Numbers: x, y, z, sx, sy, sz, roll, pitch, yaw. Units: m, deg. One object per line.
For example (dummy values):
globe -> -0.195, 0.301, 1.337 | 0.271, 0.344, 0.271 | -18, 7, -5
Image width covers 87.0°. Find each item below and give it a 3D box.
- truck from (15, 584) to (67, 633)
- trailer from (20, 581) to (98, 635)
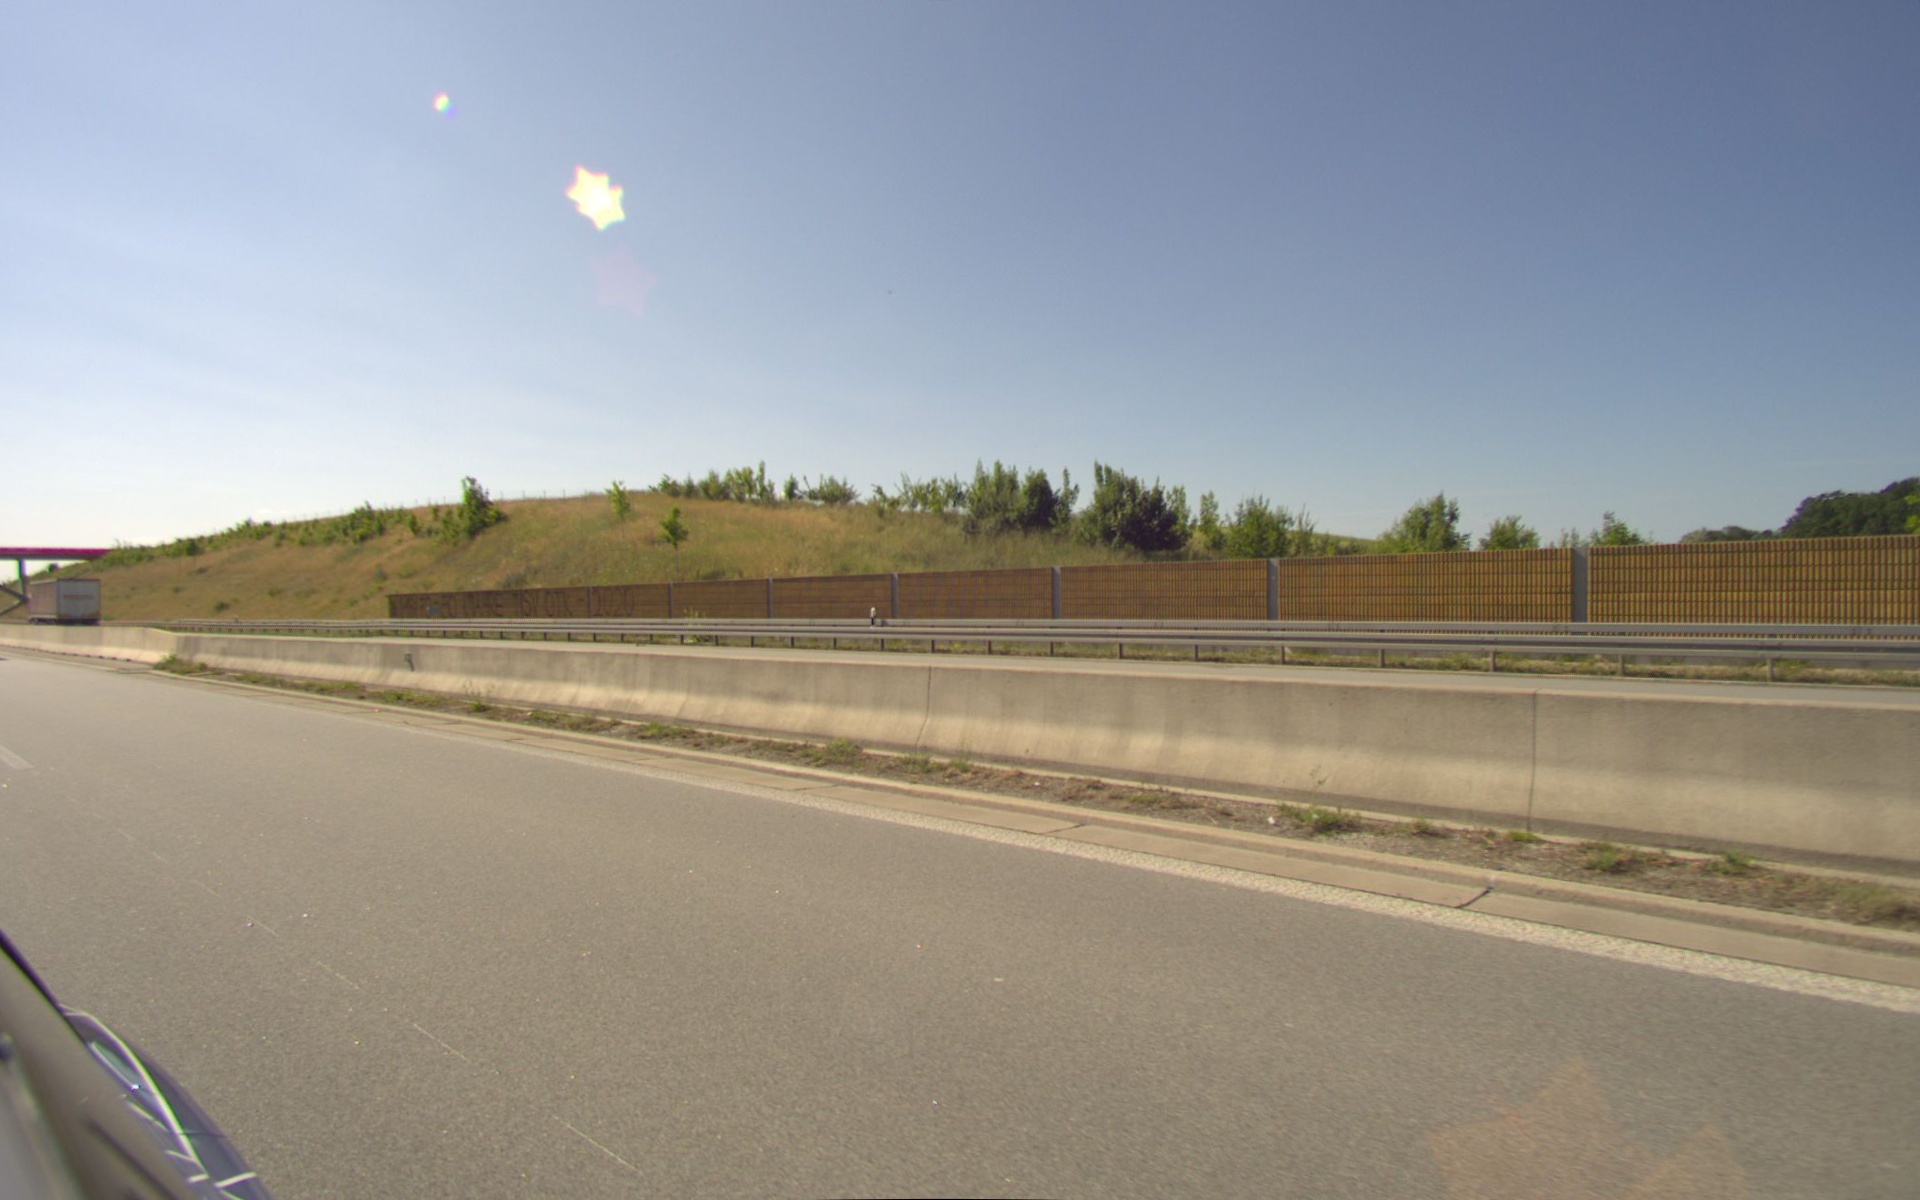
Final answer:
truck -> -76.351, 0.701, 84.047 | 4.890, 3.952, 2.610 | -1, 0, 40
trailer -> -70.801, 0.648, 79.368 | 13.724, 3.905, 2.611 | -1, 0, 40
